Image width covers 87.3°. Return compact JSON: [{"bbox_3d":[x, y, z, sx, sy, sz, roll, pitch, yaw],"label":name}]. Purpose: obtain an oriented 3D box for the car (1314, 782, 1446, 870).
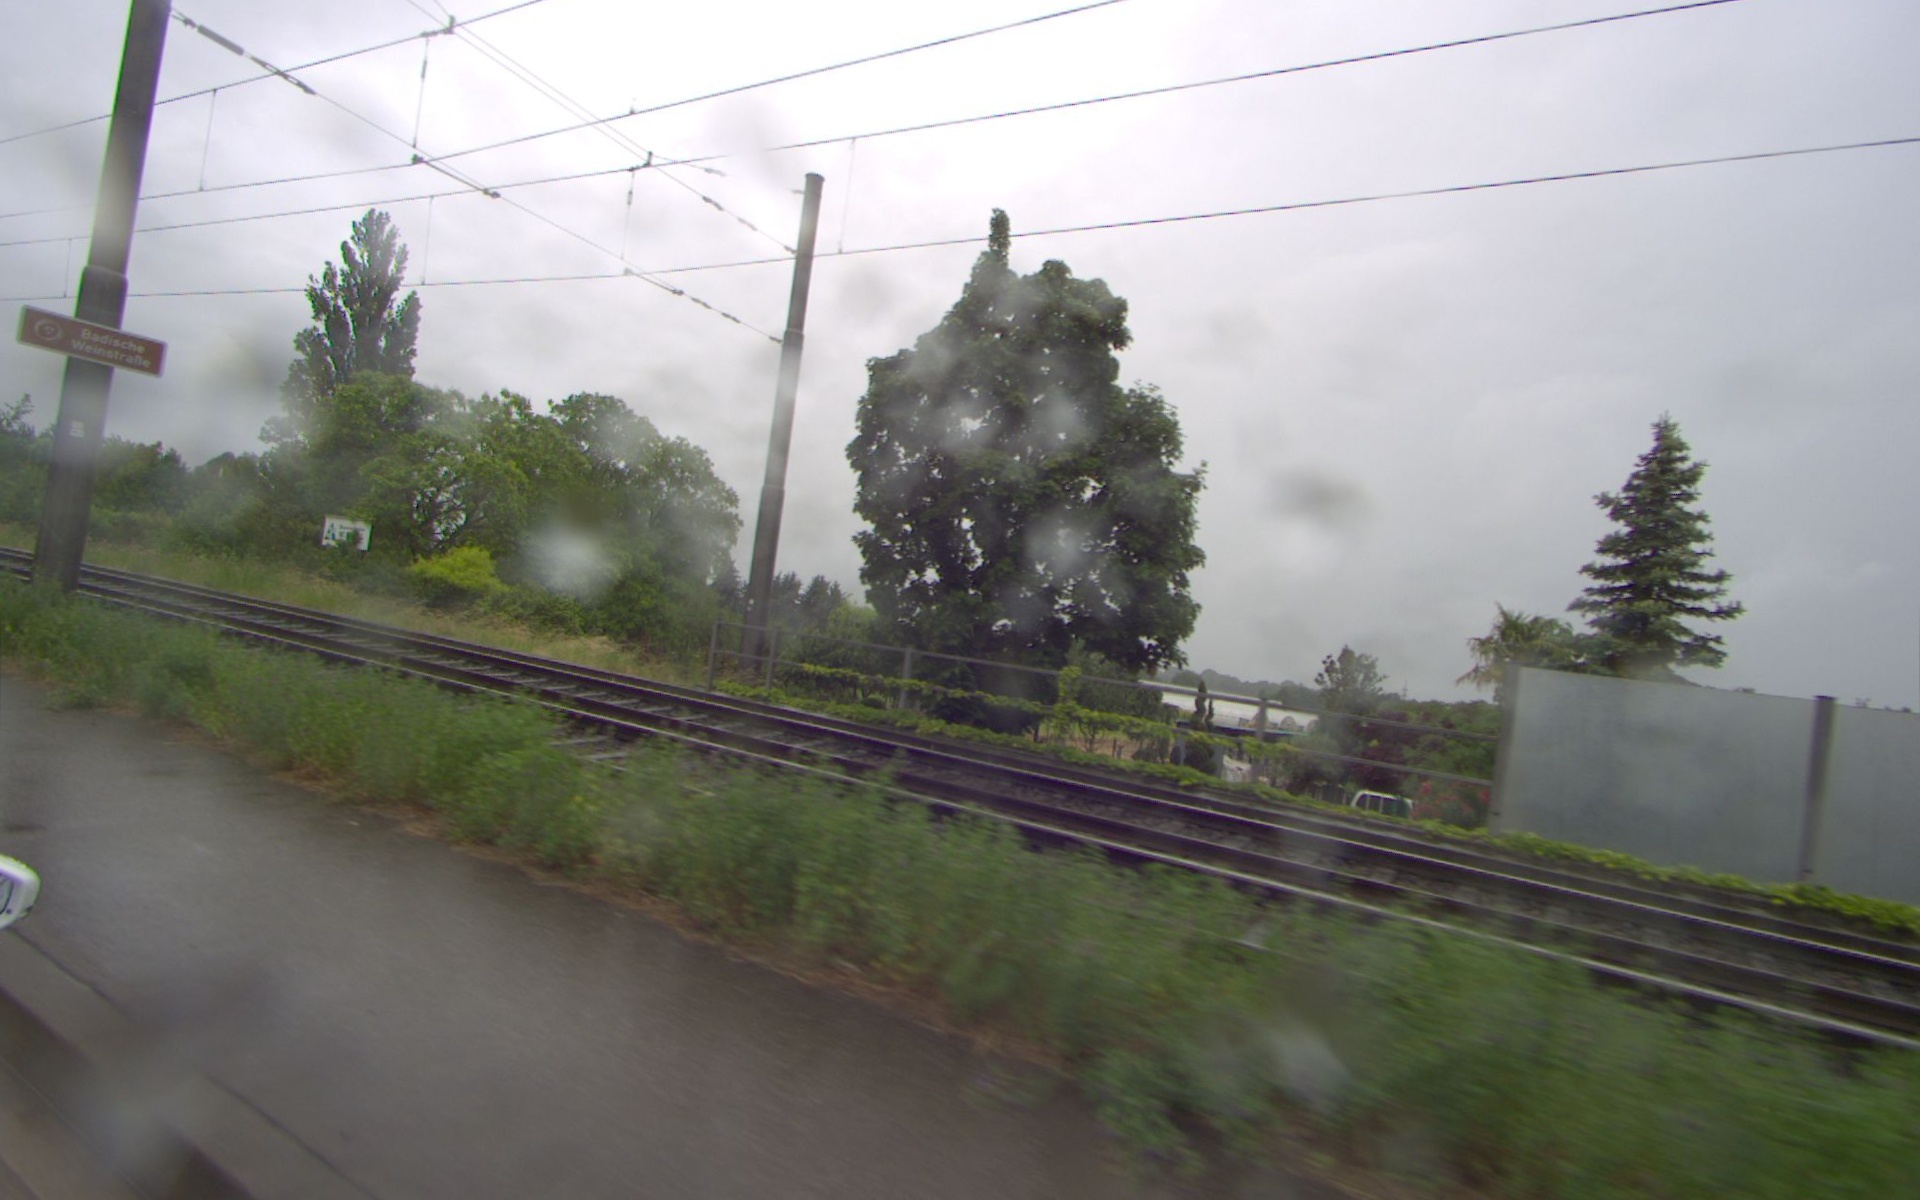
[{"bbox_3d":[10.427,5.482,24.814,1.851,1.655,4.187,5,-5,38],"label":"car"}]
